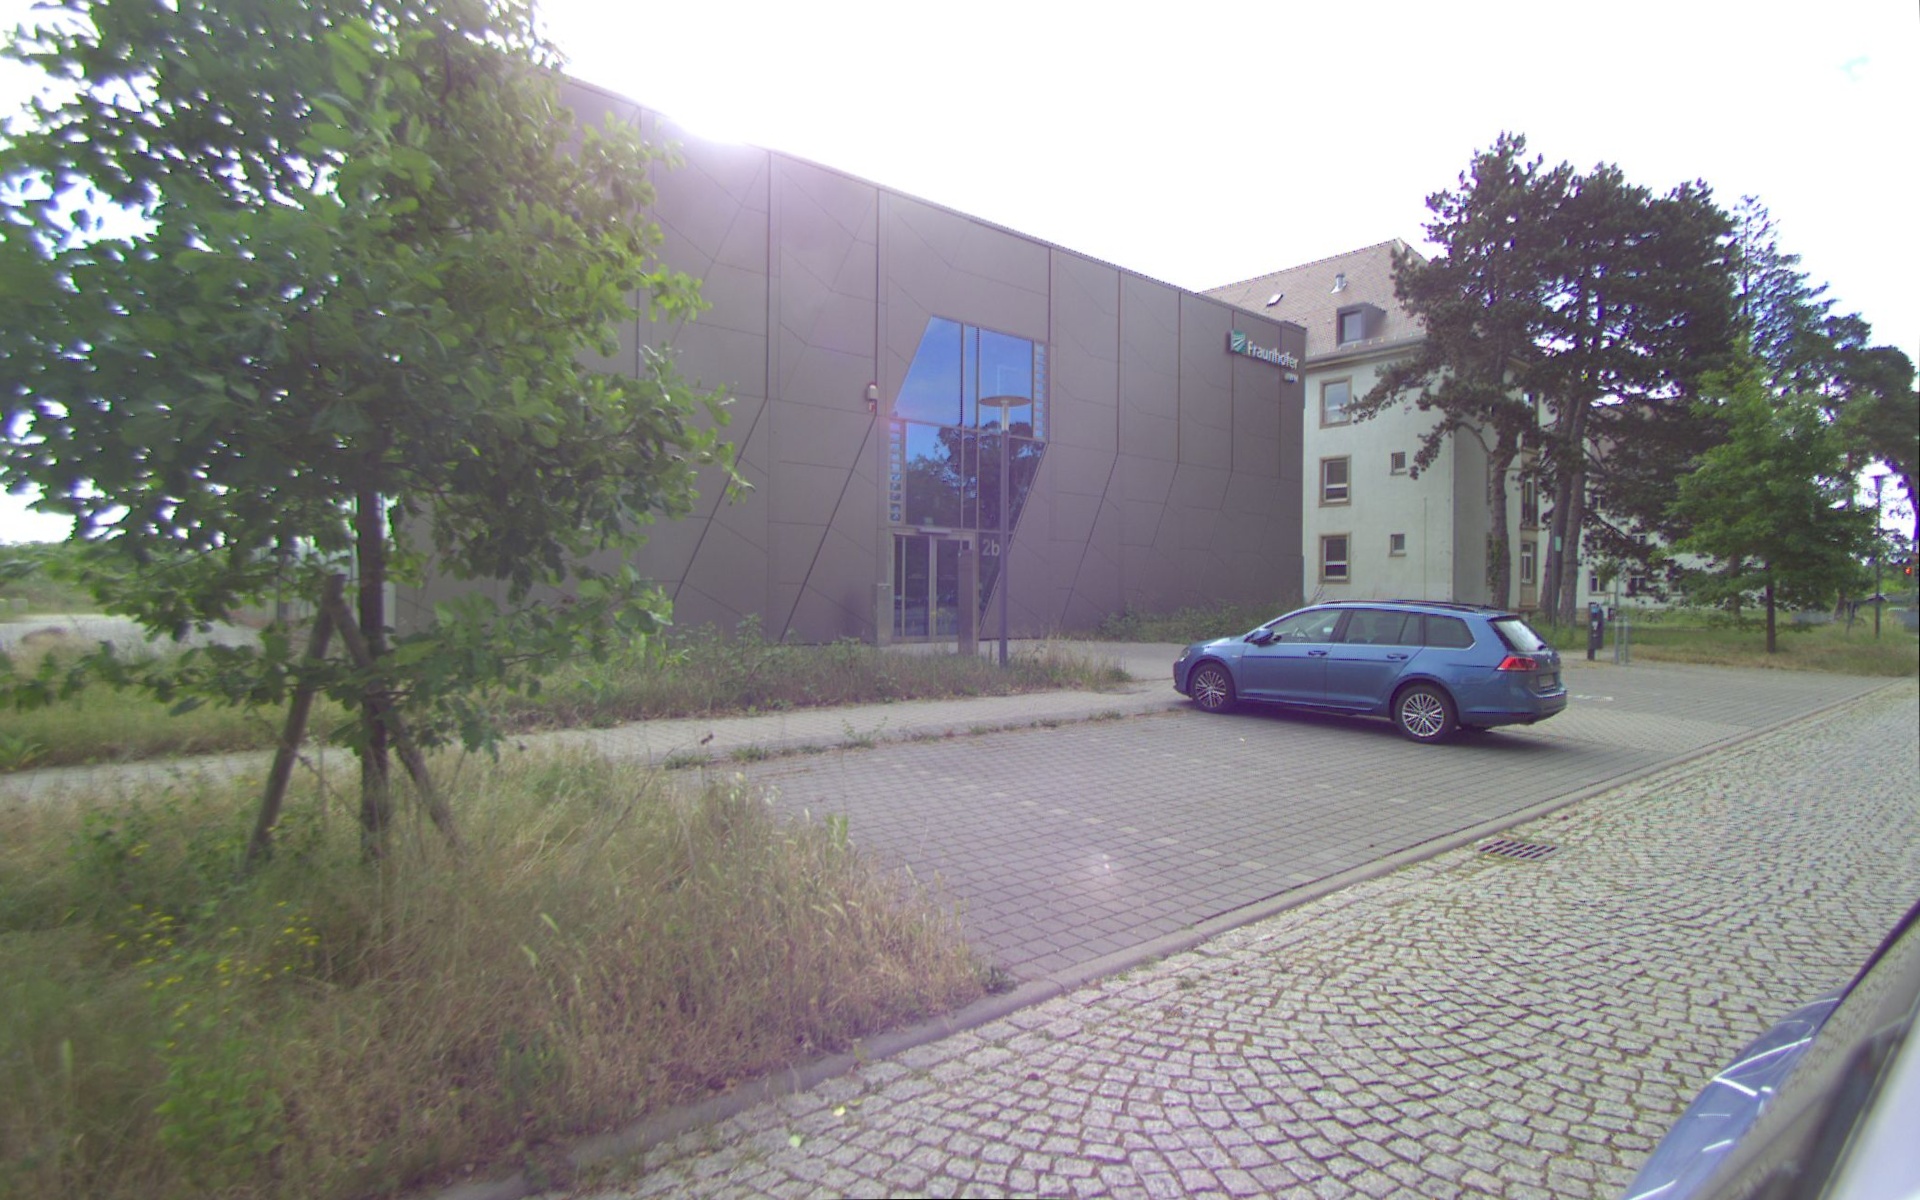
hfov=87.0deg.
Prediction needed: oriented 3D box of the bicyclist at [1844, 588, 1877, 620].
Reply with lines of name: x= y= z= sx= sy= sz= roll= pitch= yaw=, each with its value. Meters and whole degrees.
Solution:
bicyclist: x=47.145 y=0.226 z=52.998 sx=0.904 sy=1.656 sz=0.961 roll=0 pitch=0 yaw=13

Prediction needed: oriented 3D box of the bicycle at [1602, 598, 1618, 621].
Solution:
bicycle: x=39.649 y=0.571 z=61.732 sx=0.481 sy=1.349 sz=1.809 roll=0 pitch=0 yaw=43

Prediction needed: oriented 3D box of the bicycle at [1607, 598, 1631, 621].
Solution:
bicycle: x=39.963 y=0.562 z=61.346 sx=1.802 sy=1.349 sz=0.573 roll=0 pitch=0 yaw=-34

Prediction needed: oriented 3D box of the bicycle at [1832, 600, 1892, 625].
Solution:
bicycle: x=47.188 y=0.632 z=52.964 sx=2.131 sy=1.292 sz=0.960 roll=0 pitch=0 yaw=13

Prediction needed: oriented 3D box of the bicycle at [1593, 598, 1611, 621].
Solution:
bicycle: x=39.376 y=0.578 z=62.068 sx=0.571 sy=1.349 sz=1.809 roll=0 pitch=0 yaw=44

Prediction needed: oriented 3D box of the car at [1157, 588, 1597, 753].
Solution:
car: x=4.779 y=0.668 z=12.134 sx=1.793 sy=1.461 sz=4.527 roll=0 pitch=2 yaw=-44

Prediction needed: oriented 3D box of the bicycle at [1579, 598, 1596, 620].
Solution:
bicycle: x=38.833 y=0.573 z=62.608 sx=0.571 sy=1.349 sz=1.809 roll=0 pitch=0 yaw=44
